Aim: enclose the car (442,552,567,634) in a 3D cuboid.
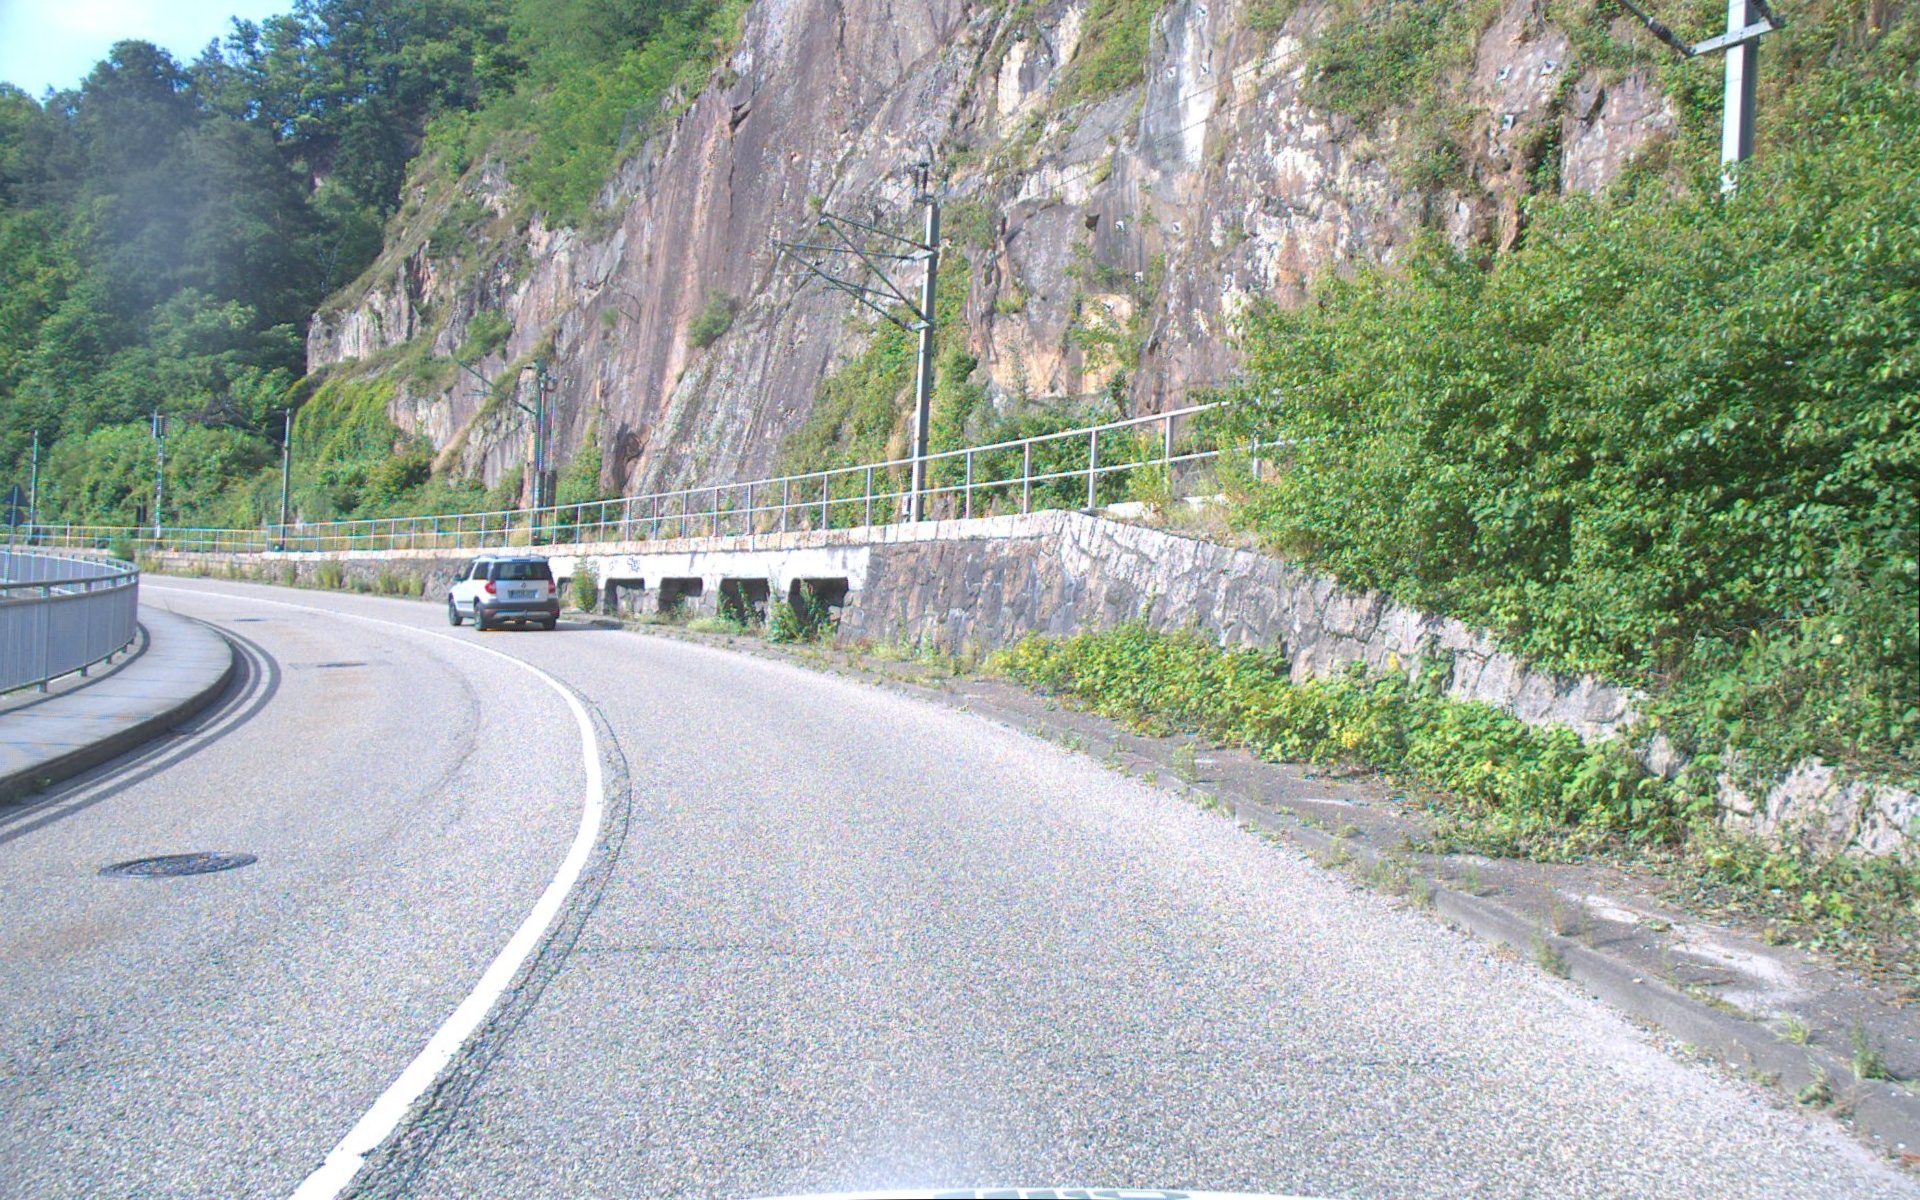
[{"bbox_3d":[-10.444,-0.200,37.741,1.852,1.684,3.962,0,3,-29],"label":"car"}]
